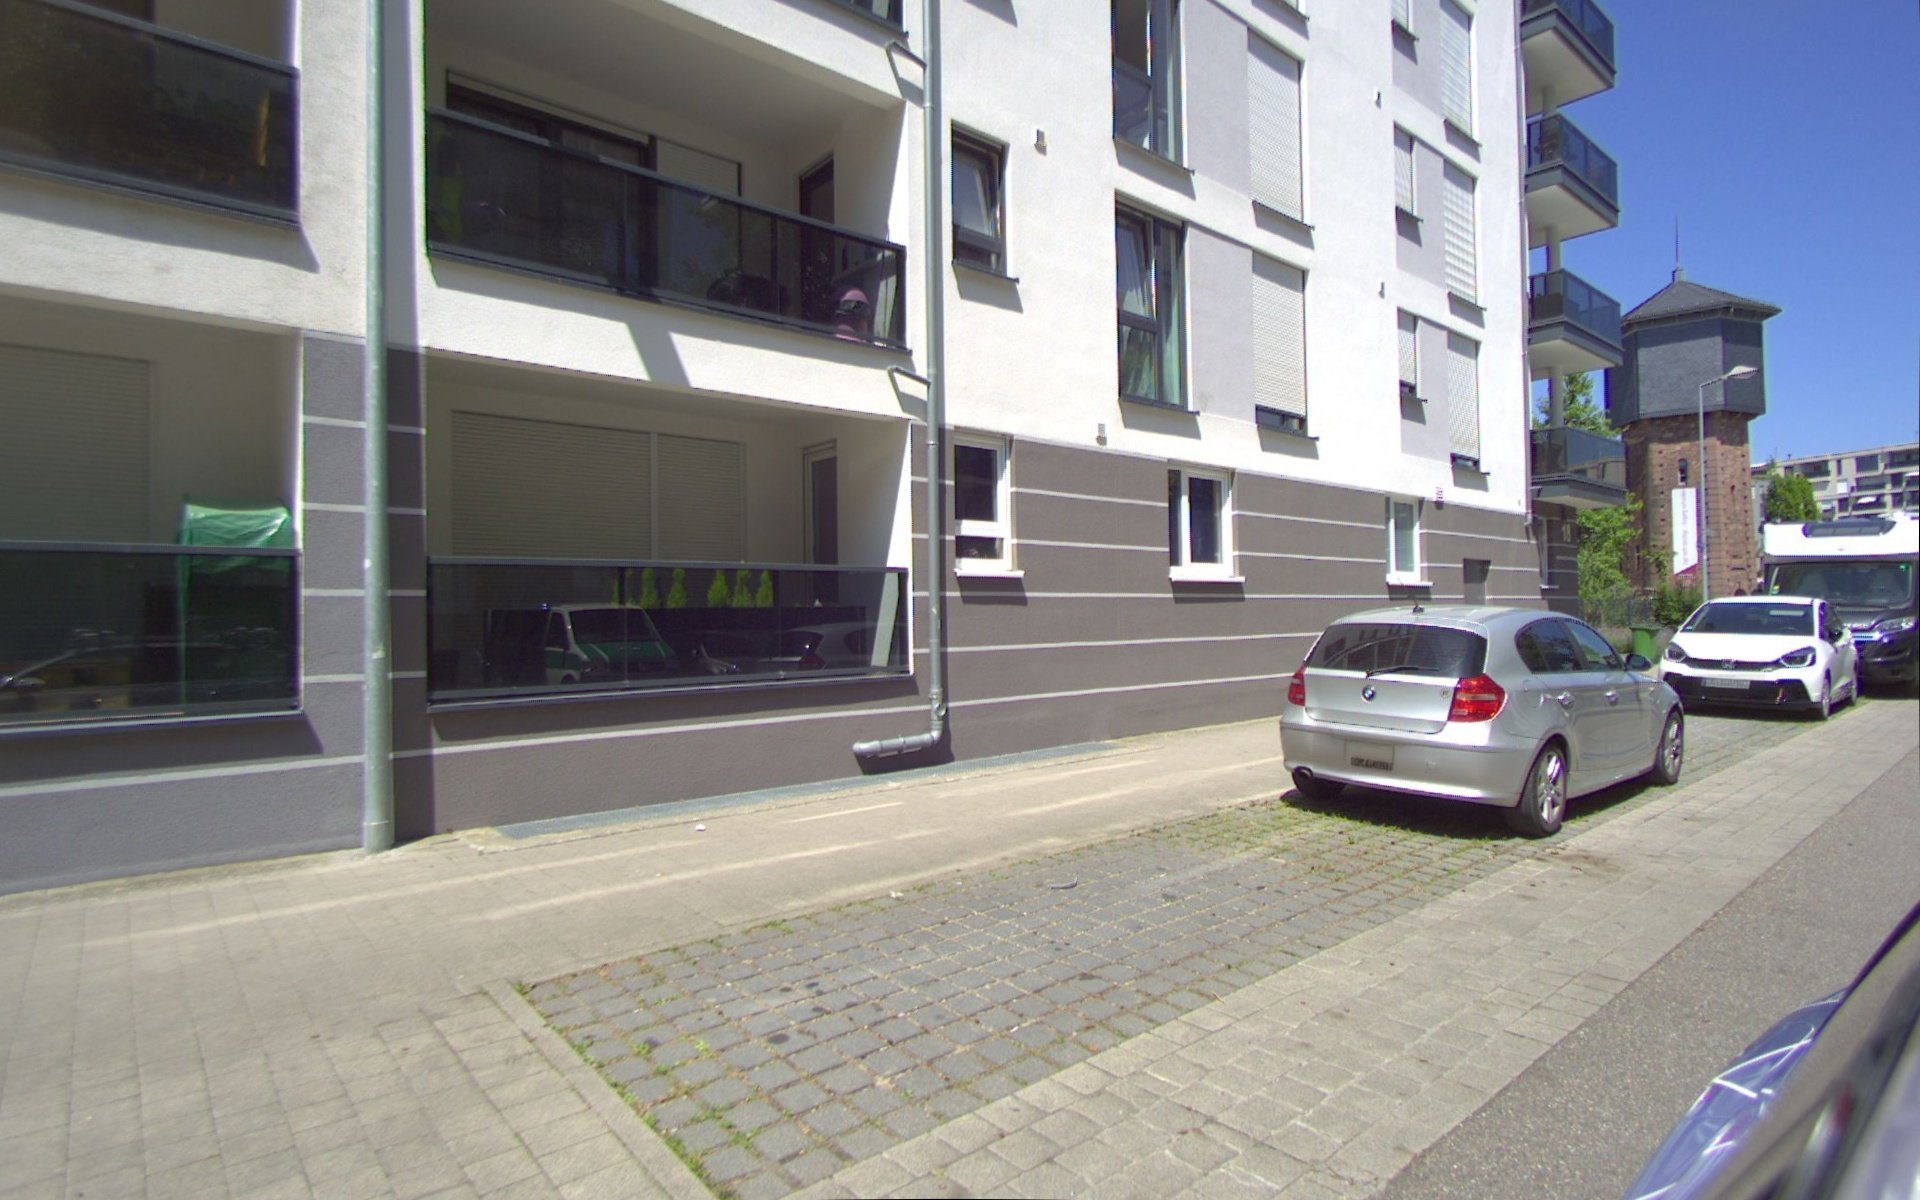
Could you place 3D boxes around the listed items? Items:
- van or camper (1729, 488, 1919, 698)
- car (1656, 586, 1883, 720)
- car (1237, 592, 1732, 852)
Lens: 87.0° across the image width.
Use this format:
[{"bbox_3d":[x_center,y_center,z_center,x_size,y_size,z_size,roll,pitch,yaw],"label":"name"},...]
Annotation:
[{"bbox_3d":[15.723,-0.124,17.463,7.693,2.943,2.441,-1,-1,-42],"label":"van or camper"},{"bbox_3d":[10.931,0.581,13.561,4.189,1.524,1.809,0,0,-43],"label":"car"},{"bbox_3d":[4.208,0.689,7.798,4.348,1.434,1.849,-1,-1,-40],"label":"car"}]
